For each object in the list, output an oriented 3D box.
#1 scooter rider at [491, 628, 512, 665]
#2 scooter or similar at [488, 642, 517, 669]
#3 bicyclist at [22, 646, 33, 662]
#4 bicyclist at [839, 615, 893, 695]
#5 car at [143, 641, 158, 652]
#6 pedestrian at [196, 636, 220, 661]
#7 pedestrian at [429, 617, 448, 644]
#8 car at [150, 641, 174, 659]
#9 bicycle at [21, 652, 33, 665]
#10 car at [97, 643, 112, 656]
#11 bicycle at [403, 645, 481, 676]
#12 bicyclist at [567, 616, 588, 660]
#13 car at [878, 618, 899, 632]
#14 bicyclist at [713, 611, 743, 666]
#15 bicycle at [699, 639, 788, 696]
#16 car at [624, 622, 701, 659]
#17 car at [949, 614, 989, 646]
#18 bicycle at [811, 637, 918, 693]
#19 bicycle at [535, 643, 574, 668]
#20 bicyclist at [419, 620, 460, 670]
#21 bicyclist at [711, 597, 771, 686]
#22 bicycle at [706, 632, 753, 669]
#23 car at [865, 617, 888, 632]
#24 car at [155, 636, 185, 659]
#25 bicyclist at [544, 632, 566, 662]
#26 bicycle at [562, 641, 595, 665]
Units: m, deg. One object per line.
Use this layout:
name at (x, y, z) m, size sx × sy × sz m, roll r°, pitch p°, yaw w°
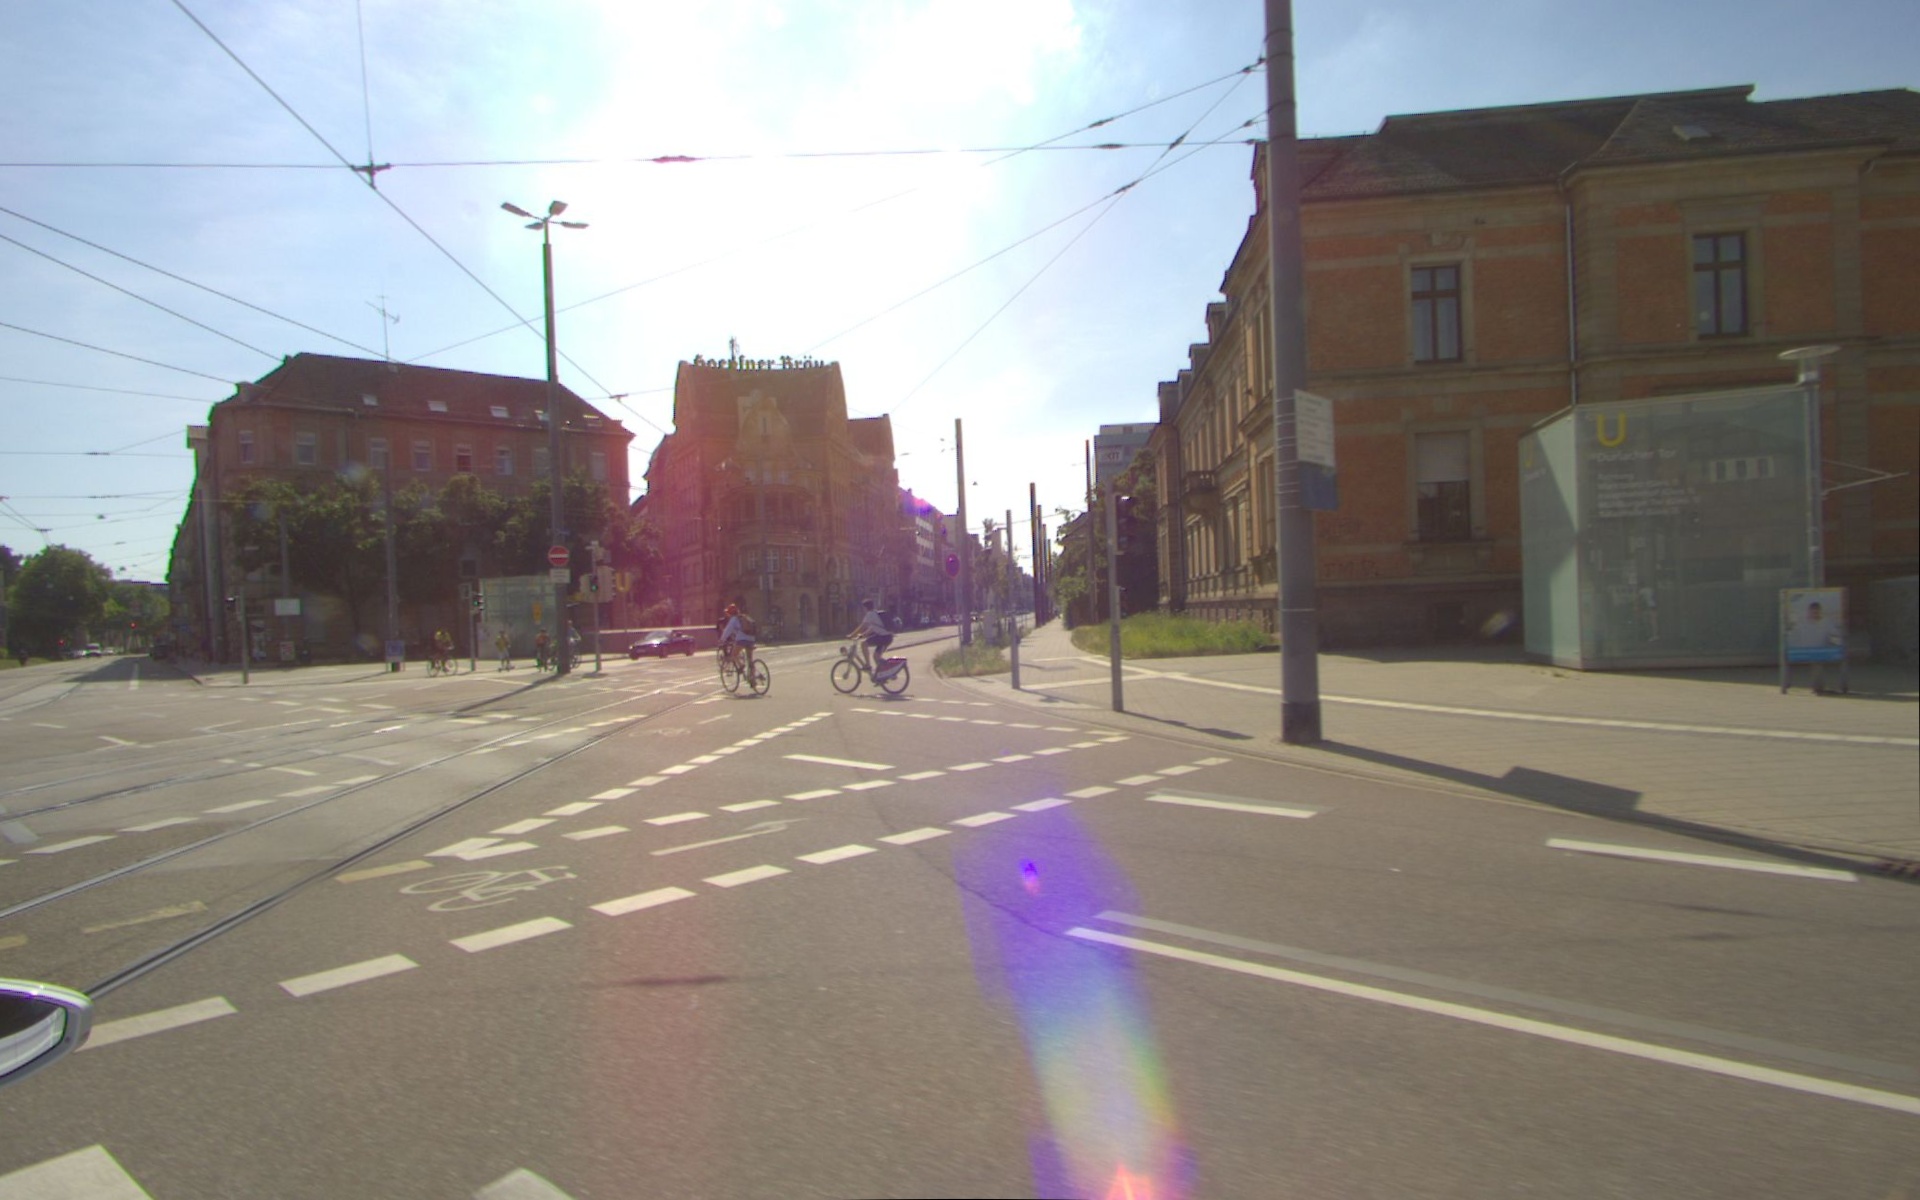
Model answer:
scooter rider at (-17.581, 1.783, 38.413) m, size 0.401 × 1.415 × 0.585 m, roll -3°, pitch -2°, yaw 35°
scooter or similar at (-17.550, 2.132, 38.388) m, size 0.979 × 0.988 × 0.585 m, roll -3°, pitch -3°, yaw 36°
bicyclist at (-94.298, 5.491, 101.222) m, size 0.746 × 1.587 × 1.078 m, roll 0°, pitch -3°, yaw -40°
bicyclist at (-1.828, 1.080, 19.624) m, size 0.931 × 1.506 × 0.717 m, roll -2°, pitch -2°, yaw 3°
car at (-160.606, 9.132, 198.645) m, size 1.974 × 2.040 × 3.975 m, roll -2°, pitch -1°, yaw -35°
pedestrian at (-45.548, 2.906, 60.661) m, size 0.869 × 1.451 × 0.712 m, roll -2°, pitch 0°, yaw -1°
pedestrian at (-28.672, 1.662, 55.037) m, size 0.699 × 1.451 × 0.614 m, roll -2°, pitch -2°, yaw -2°
car at (-93.361, 5.855, 117.153) m, size 2.092 × 2.039 × 3.970 m, roll 0°, pitch -3°, yaw -39°
bicycle at (-94.296, 5.899, 101.224) m, size 0.746 × 1.209 × 2.817 m, roll 0°, pitch -3°, yaw -40°
car at (-155.097, 8.889, 181.520) m, size 1.814 × 2.242 × 3.972 m, roll -2°, pitch 0°, yaw -37°
bicycle at (-19.759, 2.312, 38.200) m, size 2.696 × 1.082 × 0.929 m, roll -2°, pitch -2°, yaw 13°
bicyclist at (-14.497, 1.428, 37.970) m, size 0.642 × 1.641 × 0.498 m, roll -2°, pitch -2°, yaw 41°
car at (-7.498, 2.609, 105.105) m, size 1.607 × 1.363 × 3.610 m, roll -2°, pitch -1°, yaw 5°
bicyclist at (-7.123, 1.184, 30.726) m, size 0.659 × 1.645 × 0.778 m, roll 0°, pitch -1°, yaw -31°
bicycle at (-4.378, 1.343, 20.188) m, size 2.000 × 1.029 × 0.709 m, roll -3°, pitch 2°, yaw 44°
car at (-14.328, 1.933, 48.428) m, size 1.609 × 1.604 × 3.994 m, roll -2°, pitch -1°, yaw 16°
car at (0.454, 1.311, 45.088) m, size 1.640 × 1.330 × 3.452 m, roll -2°, pitch -1°, yaw 3°
bicycle at (-1.851, 1.268, 19.614) m, size 1.981 × 1.028 × 0.717 m, roll -2°, pitch -2°, yaw 2°
bicycle at (-14.569, 1.979, 35.962) m, size 1.566 × 0.877 × 0.499 m, roll -2°, pitch -2°, yaw 34°
bicyclist at (-19.888, 1.727, 38.289) m, size 1.033 × 1.843 × 0.929 m, roll -2°, pitch -2°, yaw 12°
bicyclist at (-4.409, 0.830, 20.160) m, size 0.866 × 1.692 × 0.709 m, roll -2°, pitch 2°, yaw 44°
bicycle at (-7.052, 1.532, 30.580) m, size 0.659 × 1.083 × 2.450 m, roll 0°, pitch -2°, yaw -31°
car at (-8.156, 2.350, 97.743) m, size 1.607 × 1.363 × 3.583 m, roll -2°, pitch -1°, yaw 5°
car at (-74.154, 4.478, 93.930) m, size 1.979 × 2.039 × 3.966 m, roll 0°, pitch -3°, yaw -42°
bicyclist at (-14.543, 1.693, 35.944) m, size 0.597 × 1.042 × 0.499 m, roll -2°, pitch -2°, yaw 34°
bicycle at (-14.455, 2.018, 37.924) m, size 1.569 × 0.877 × 0.498 m, roll -3°, pitch -2°, yaw 41°
